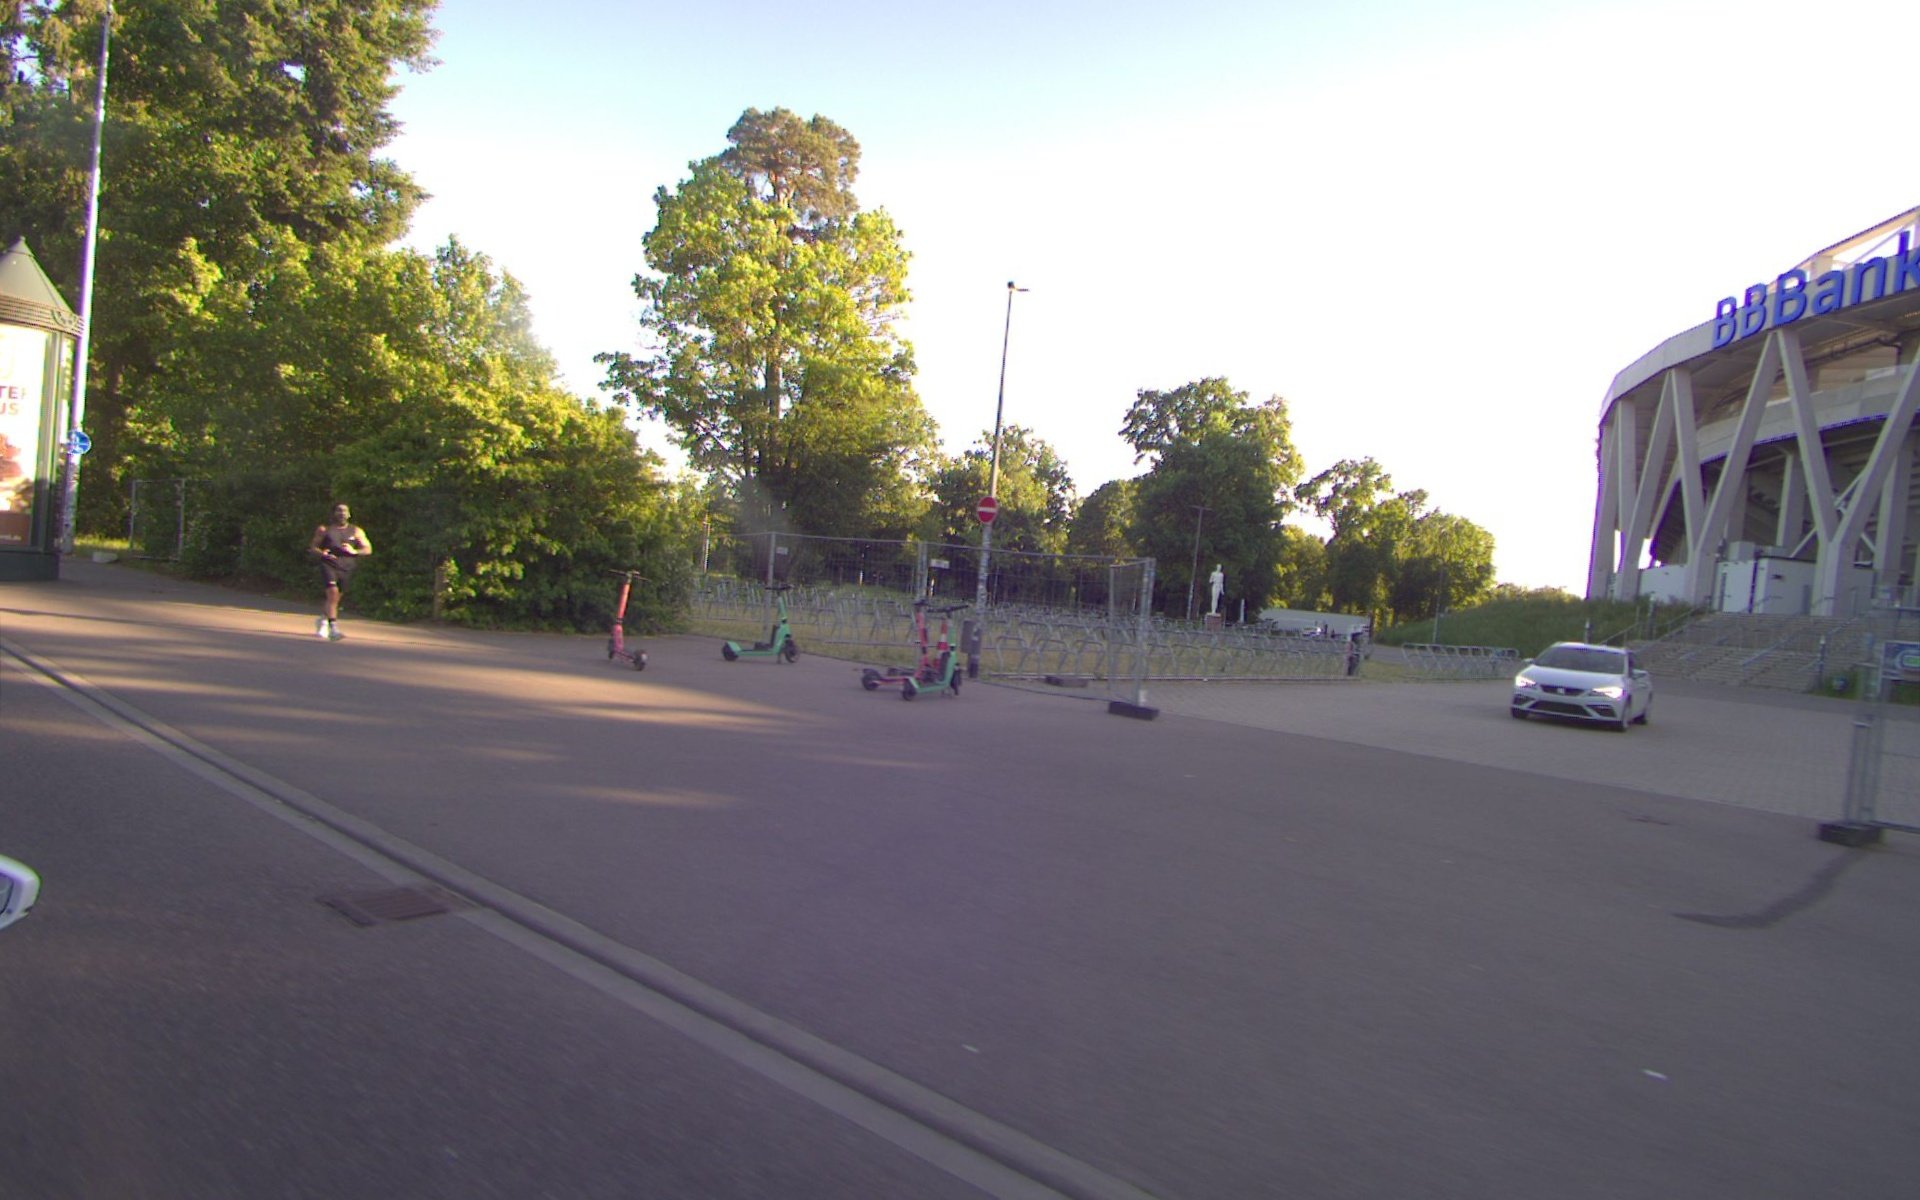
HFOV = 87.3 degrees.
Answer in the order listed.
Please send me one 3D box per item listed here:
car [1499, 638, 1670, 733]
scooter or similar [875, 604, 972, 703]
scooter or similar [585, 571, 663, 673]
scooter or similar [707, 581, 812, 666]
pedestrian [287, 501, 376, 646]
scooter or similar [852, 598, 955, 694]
[{"bbox_3d":[11.676,1.530,18.667,1.796,1.396,4.359,6,1,43],"label":"car"},{"bbox_3d":[-0.443,0.665,12.637,0.389,1.162,1.262,5,2,42],"label":"scooter or similar"},{"bbox_3d":[-4.379,0.267,13.057,1.390,1.187,0.280,8,4,44],"label":"scooter or similar"},{"bbox_3d":[-2.997,0.359,15.096,1.424,1.182,0.391,4,1,-26],"label":"scooter or similar"},{"bbox_3d":[-7.893,-0.336,12.630,0.871,1.709,0.624,6,0,44],"label":"pedestrian"},{"bbox_3d":[-0.735,0.612,13.233,1.234,1.182,0.391,4,1,-31],"label":"scooter or similar"}]
